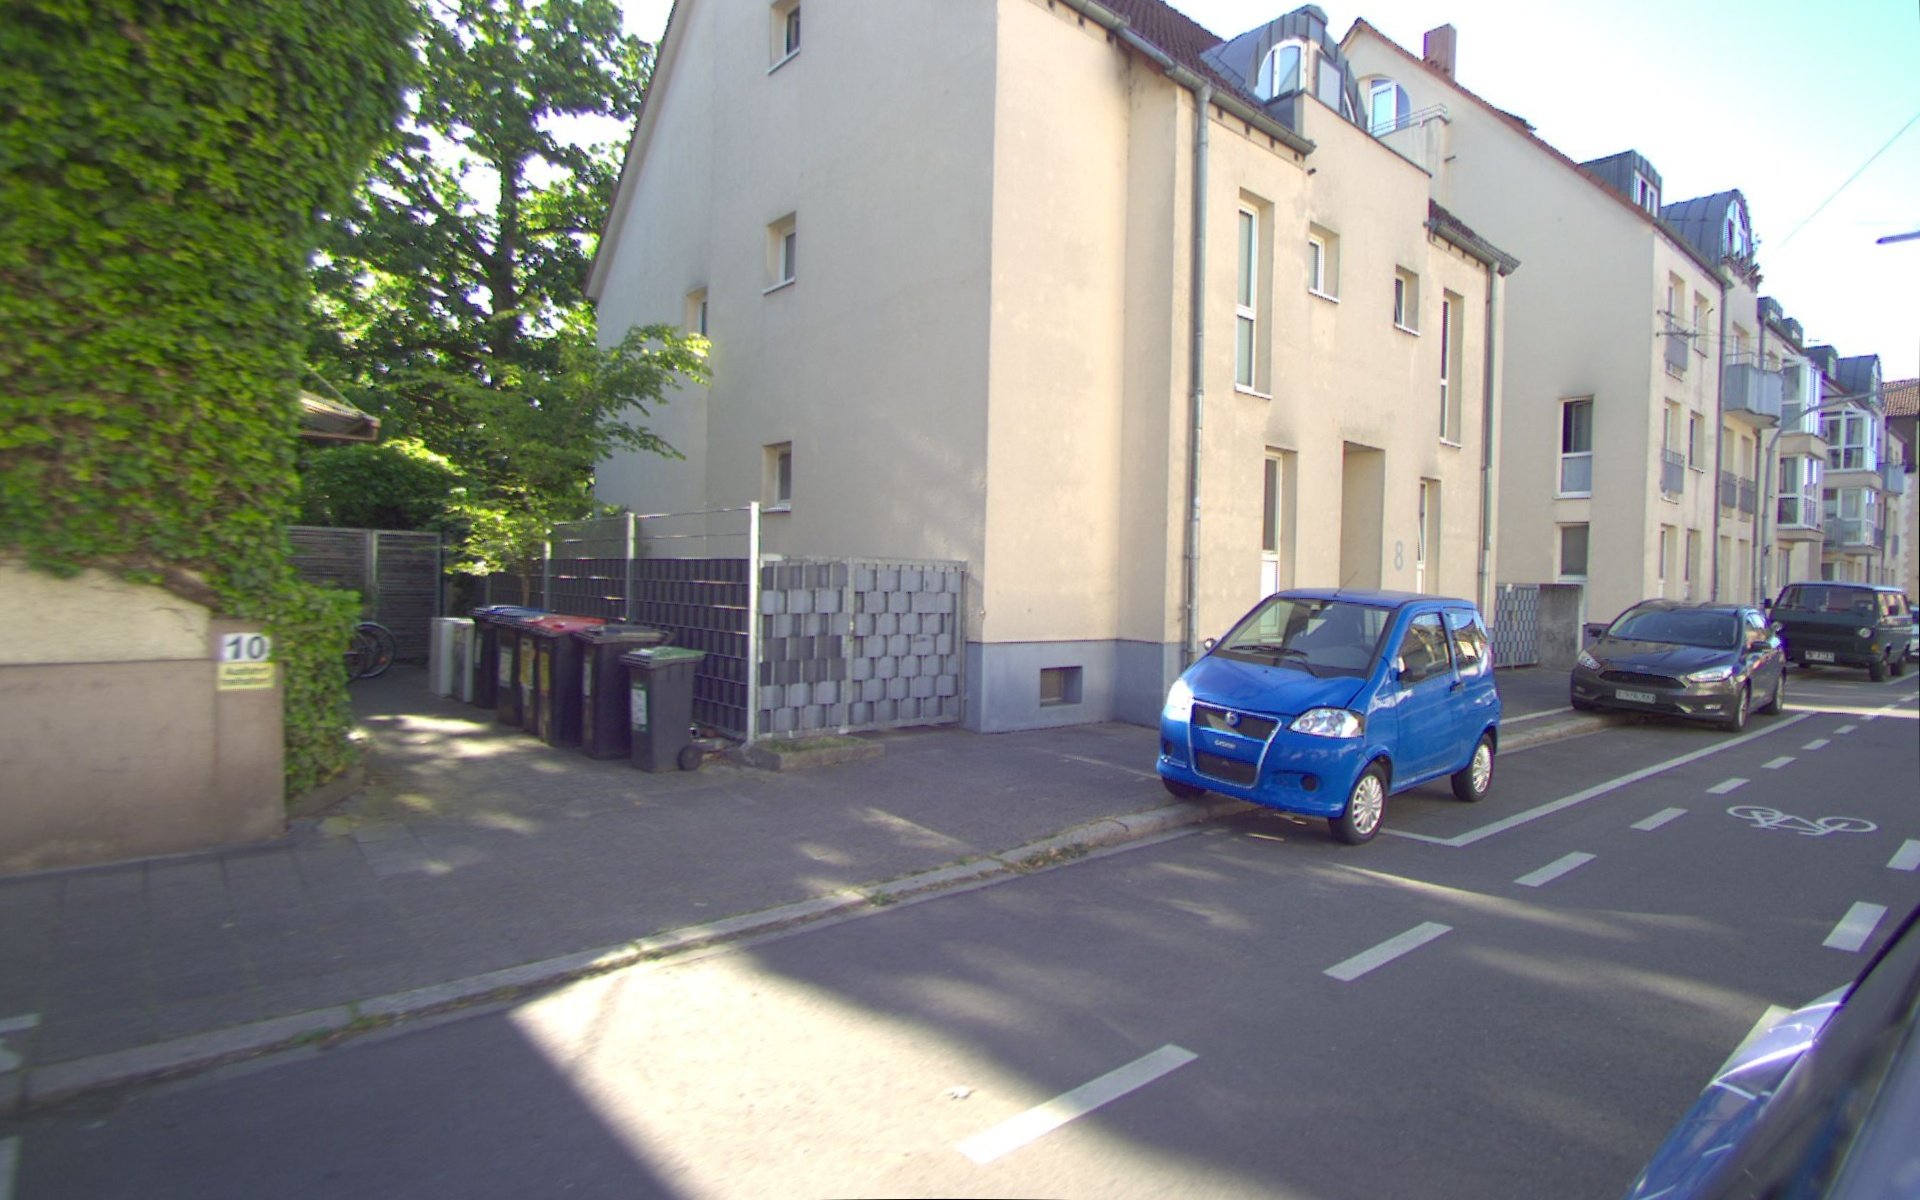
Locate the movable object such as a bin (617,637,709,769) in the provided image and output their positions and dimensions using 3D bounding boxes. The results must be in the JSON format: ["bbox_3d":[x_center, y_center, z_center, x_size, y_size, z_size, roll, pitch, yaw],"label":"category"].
[{"bbox_3d":[-2.292,0.774,7.814,0.506,0.927,0.493,0,2,-43],"label":"movable object such as a bin"}]

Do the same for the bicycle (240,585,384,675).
[{"bbox_3d":[-8.389,0.363,13.129,1.518,1.097,0.456,0,1,-41],"label":"bicycle"}]

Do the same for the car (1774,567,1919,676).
[{"bbox_3d":[18.532,0.399,20.962,4.484,2.012,1.908,0,0,-42],"label":"car"}]

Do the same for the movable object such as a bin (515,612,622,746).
[{"bbox_3d":[-3.422,0.657,8.843,0.628,1.070,0.755,0,2,-43],"label":"movable object such as a bin"}]

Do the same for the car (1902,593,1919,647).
[{"bbox_3d":[29.435,0.593,30.264,3.589,1.577,1.556,0,0,-42],"label":"car"}]

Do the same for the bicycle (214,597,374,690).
[{"bbox_3d":[-7.757,0.475,11.822,1.518,1.007,0.456,0,1,-41],"label":"bicycle"}]

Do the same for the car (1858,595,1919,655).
[{"bbox_3d":[25.429,0.629,27.061,4.101,1.510,1.679,0,0,-42],"label":"car"}]

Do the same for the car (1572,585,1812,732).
[{"bbox_3d":[9.710,0.642,13.286,4.358,1.619,1.746,0,0,-43],"label":"car"}]

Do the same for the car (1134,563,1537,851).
[{"bbox_3d":[2.834,0.601,7.339,3.238,1.619,1.459,0,0,-43],"label":"car"}]

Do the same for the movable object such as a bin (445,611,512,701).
[{"bbox_3d":[-5.341,0.604,11.222,0.534,0.926,0.537,0,2,-43],"label":"movable object such as a bin"}]

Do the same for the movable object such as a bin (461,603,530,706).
[{"bbox_3d":[-4.961,0.564,10.808,0.522,1.037,0.537,0,2,-43],"label":"movable object such as a bin"}]

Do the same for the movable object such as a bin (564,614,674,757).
[{"bbox_3d":[-2.807,0.670,8.321,0.628,1.070,0.673,0,2,-43],"label":"movable object such as a bin"}]

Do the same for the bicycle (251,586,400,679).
[{"bbox_3d":[-7.901,0.383,12.643,1.518,1.097,0.456,0,1,-41],"label":"bicycle"}]

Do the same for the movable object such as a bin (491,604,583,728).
[{"bbox_3d":[-4.026,0.602,9.621,0.586,1.088,0.734,0,2,-43],"label":"movable object such as a bin"}]
